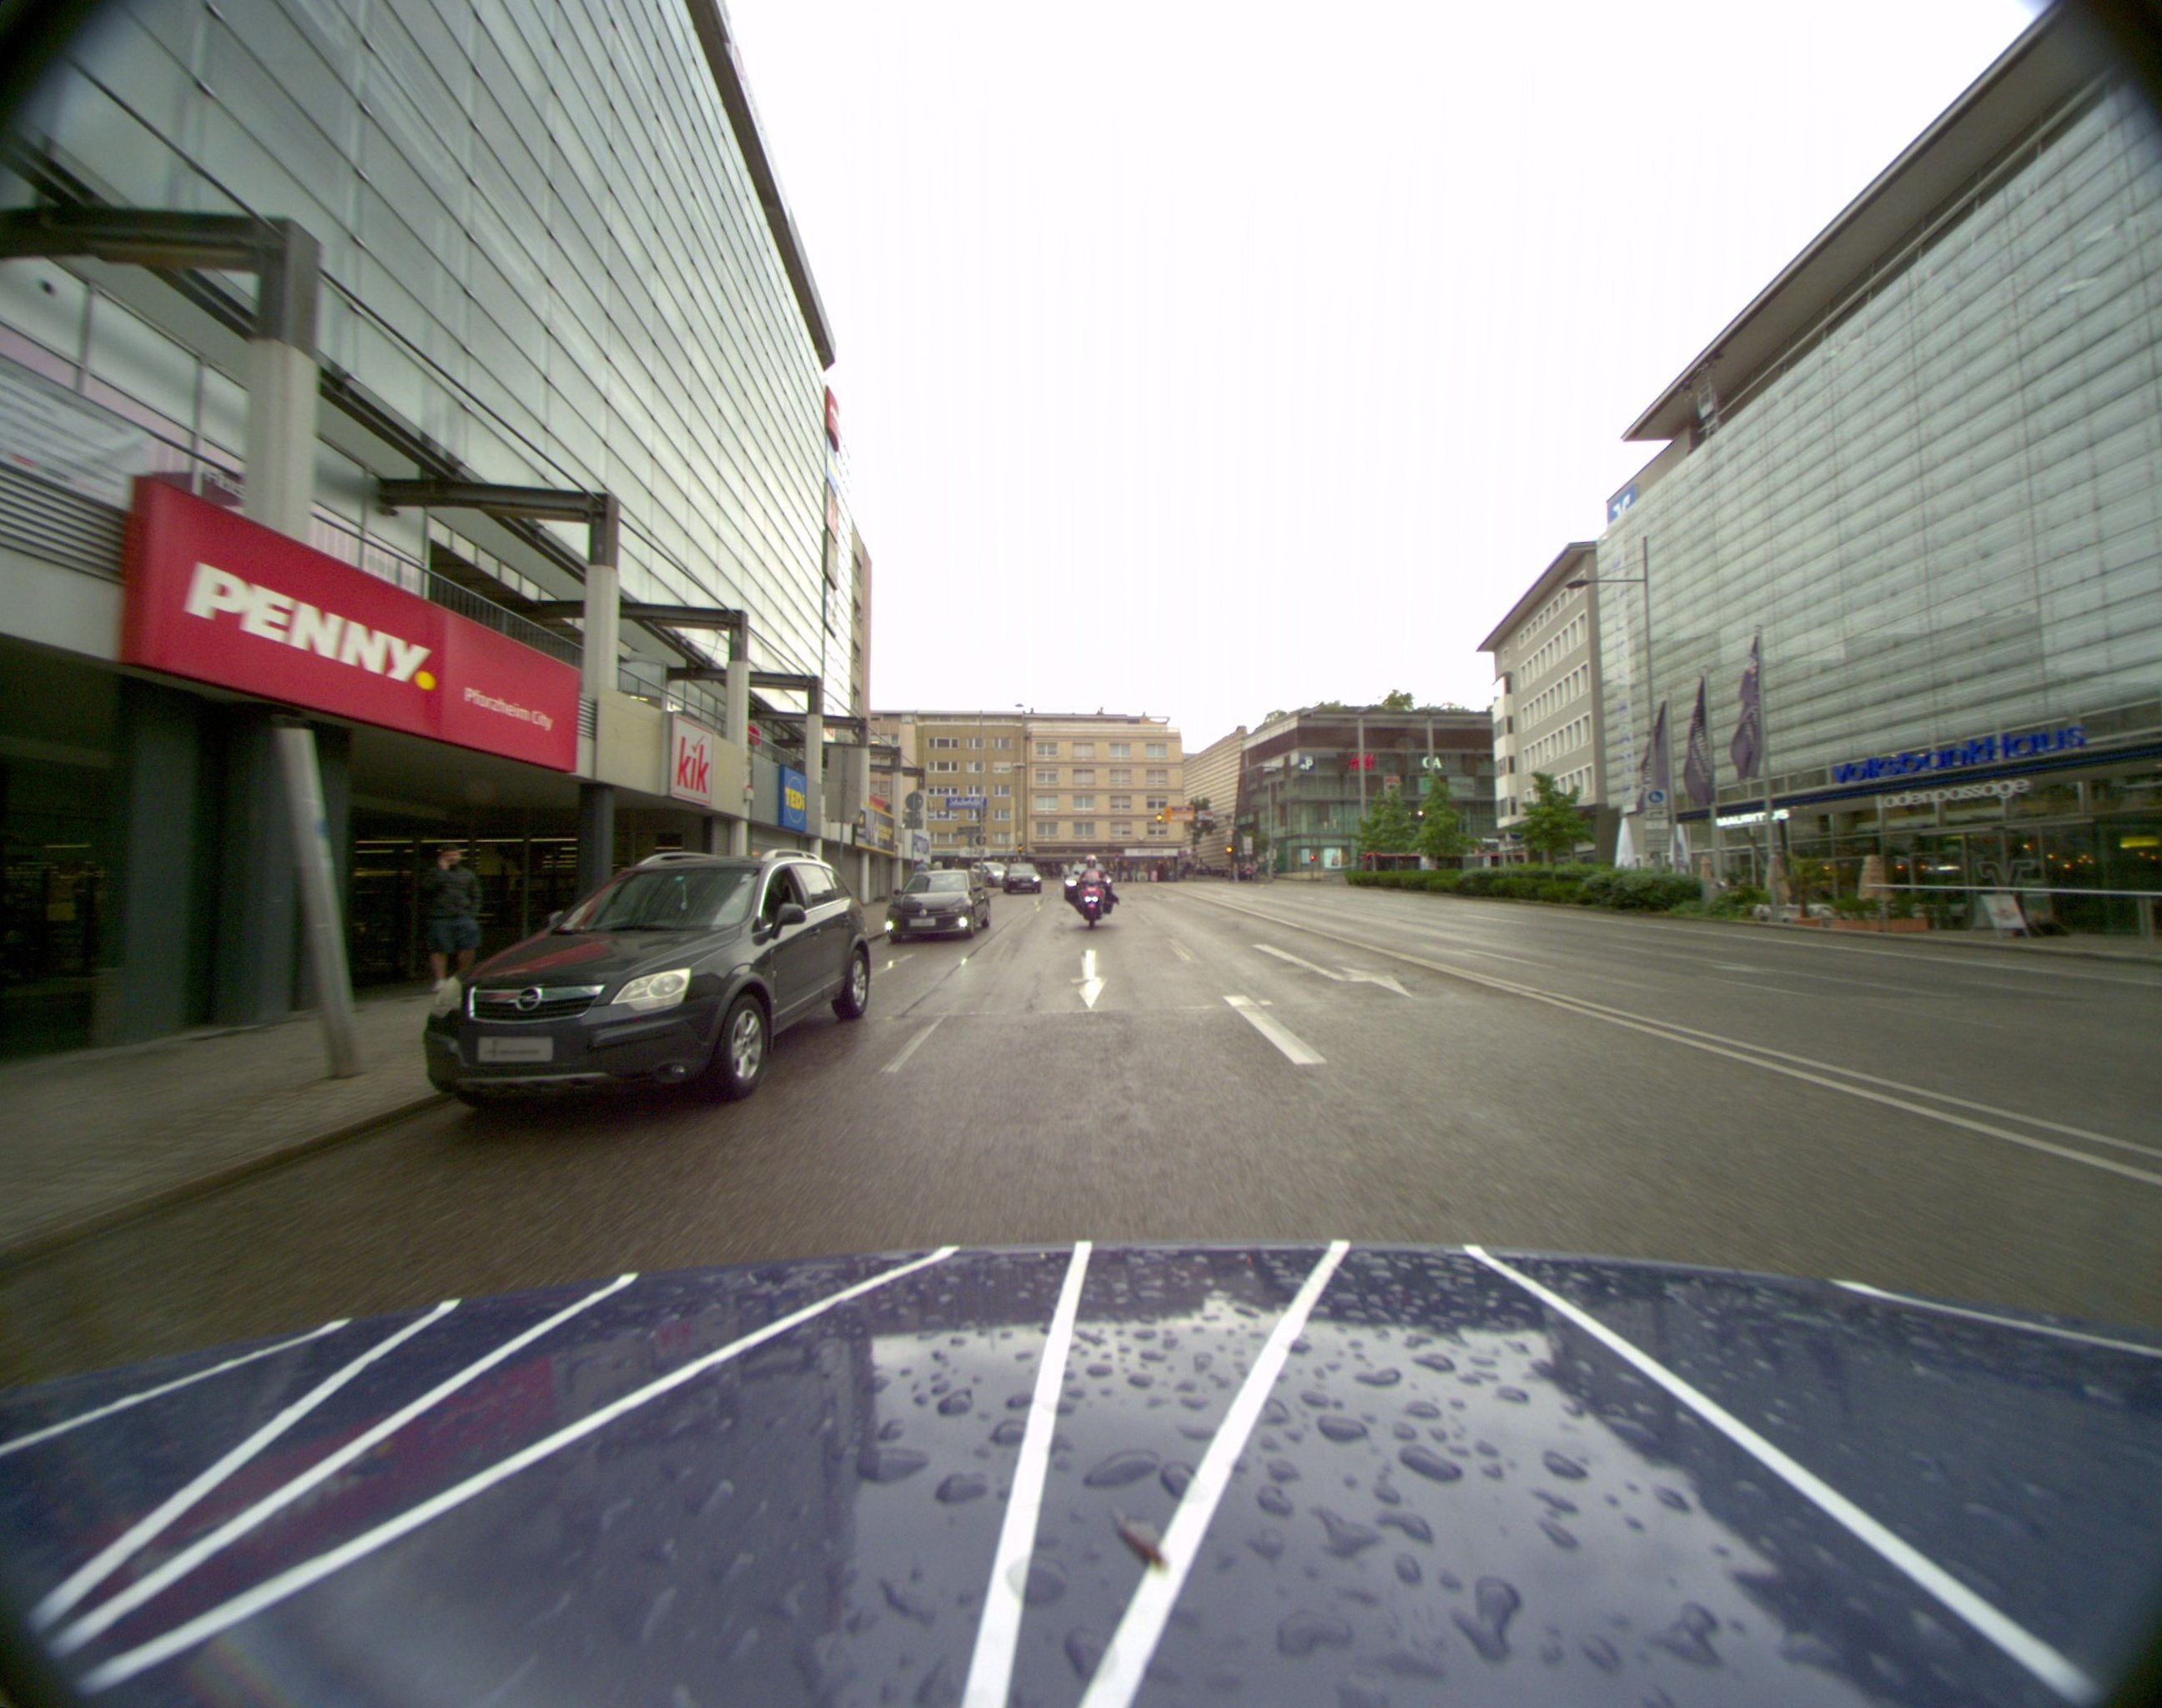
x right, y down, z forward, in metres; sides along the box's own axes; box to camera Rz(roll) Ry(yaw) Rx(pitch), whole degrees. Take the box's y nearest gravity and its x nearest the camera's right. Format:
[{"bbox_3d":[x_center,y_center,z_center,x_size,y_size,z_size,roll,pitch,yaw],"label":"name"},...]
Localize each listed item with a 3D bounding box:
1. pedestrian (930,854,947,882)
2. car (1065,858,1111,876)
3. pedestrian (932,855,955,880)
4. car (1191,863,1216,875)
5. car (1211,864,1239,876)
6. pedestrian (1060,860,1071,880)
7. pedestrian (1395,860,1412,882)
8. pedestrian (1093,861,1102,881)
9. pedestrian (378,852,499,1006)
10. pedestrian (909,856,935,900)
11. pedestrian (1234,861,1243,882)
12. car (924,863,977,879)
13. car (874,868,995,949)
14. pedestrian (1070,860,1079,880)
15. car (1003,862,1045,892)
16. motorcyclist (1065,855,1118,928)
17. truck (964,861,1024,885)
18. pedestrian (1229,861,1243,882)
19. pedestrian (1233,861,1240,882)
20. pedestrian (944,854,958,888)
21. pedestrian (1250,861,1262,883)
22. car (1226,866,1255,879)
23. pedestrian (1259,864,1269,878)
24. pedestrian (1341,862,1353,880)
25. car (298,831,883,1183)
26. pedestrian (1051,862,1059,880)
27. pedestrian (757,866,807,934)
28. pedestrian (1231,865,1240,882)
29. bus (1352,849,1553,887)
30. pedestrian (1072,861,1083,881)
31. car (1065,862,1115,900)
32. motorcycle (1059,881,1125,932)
[{"bbox_3d":[-9.660,0.950,51.524,0.785,1.855,0.619,4,-5,12],"label":"pedestrian"},{"bbox_3d":[0.657,1.263,74.492,4.082,1.542,1.851,1,-1,32],"label":"car"},{"bbox_3d":[-9.098,0.893,50.315,1.061,1.522,1.024,4,-2,-39],"label":"pedestrian"},{"bbox_3d":[17.135,2.114,106.692,1.899,1.537,4.376,-2,0,-14],"label":"car"},{"bbox_3d":[18.856,2.100,99.652,1.899,1.537,4.376,-2,0,-14],"label":"car"},{"bbox_3d":[-1.304,1.338,63.615,0.914,1.662,0.982,1,-1,2],"label":"pedestrian"},{"bbox_3d":[26.398,1.422,62.175,0.800,1.765,1.024,1,0,-9],"label":"pedestrian"},{"bbox_3d":[1.383,1.444,64.671,0.693,1.681,0.759,2,0,1],"label":"pedestrian"},{"bbox_3d":[-7.424,0.835,8.804,0.817,1.705,0.671,1,0,6],"label":"pedestrian"},{"bbox_3d":[-6.371,0.954,30.376,0.837,1.712,0.618,1,0,7],"label":"pedestrian"},{"bbox_3d":[12.763,1.422,61.618,0.638,1.679,0.784,1,-1,5],"label":"pedestrian"},{"bbox_3d":[-11.963,1.591,69.870,4.630,1.407,1.798,1,-2,-5],"label":"car"},{"bbox_3d":[-3.077,1.104,16.755,1.742,1.422,3.880,-3,0,1],"label":"car"},{"bbox_3d":[-0.539,1.369,65.277,0.706,1.701,0.786,2,0,1],"label":"pedestrian"},{"bbox_3d":[-3.135,1.229,41.045,1.873,1.538,4.101,0,-1,-9],"label":"car"},{"bbox_3d":[0.228,0.828,17.082,1.093,1.595,0.953,0,-1,-5],"label":"motorcyclist"},{"bbox_3d":[-5.784,1.246,50.312,3.989,1.532,1.860,-1,-1,44],"label":"truck"},{"bbox_3d":[13.073,1.457,64.251,0.853,1.777,1.012,1,-1,-10],"label":"pedestrian"},{"bbox_3d":[12.747,1.438,62.286,0.501,1.658,0.571,1,-1,3],"label":"pedestrian"},{"bbox_3d":[-7.237,0.956,42.371,0.601,1.829,1.012,1,-1,-4],"label":"pedestrian"},{"bbox_3d":[13.967,1.426,60.592,0.617,1.768,0.832,1,-1,-9],"label":"pedestrian"},{"bbox_3d":[19.712,2.251,94.146,1.806,1.537,4.292,1,0,-14],"label":"car"},{"bbox_3d":[22.446,2.087,93.247,0.695,1.751,1.048,1,-2,-14],"label":"pedestrian"},{"bbox_3d":[30.819,1.985,88.106,0.974,1.968,0.883,1,-1,-4],"label":"pedestrian"},{"bbox_3d":[-3.242,0.891,6.290,1.912,1.774,4.303,-4,-2,1],"label":"car"},{"bbox_3d":[-2.165,1.405,63.032,0.560,1.479,0.707,2,-1,1],"label":"pedestrian"},{"bbox_3d":[-6.650,1.006,16.916,0.773,1.458,0.704,1,-1,7],"label":"pedestrian"},{"bbox_3d":[12.767,1.608,62.851,0.588,1.331,0.631,1,-1,-10],"label":"pedestrian"},{"bbox_3d":[36.213,1.382,74.343,18.468,3.300,2.930,1,-1,-2],"label":"bus"},{"bbox_3d":[-0.285,1.390,62.596,0.854,1.559,0.715,2,0,1],"label":"pedestrian"},{"bbox_3d":[0.335,1.152,32.628,1.999,1.482,4.736,1,-2,-1],"label":"car"},{"bbox_3d":[0.221,1.208,18.014,1.314,1.128,2.184,1,-2,-6],"label":"motorcycle"}]
